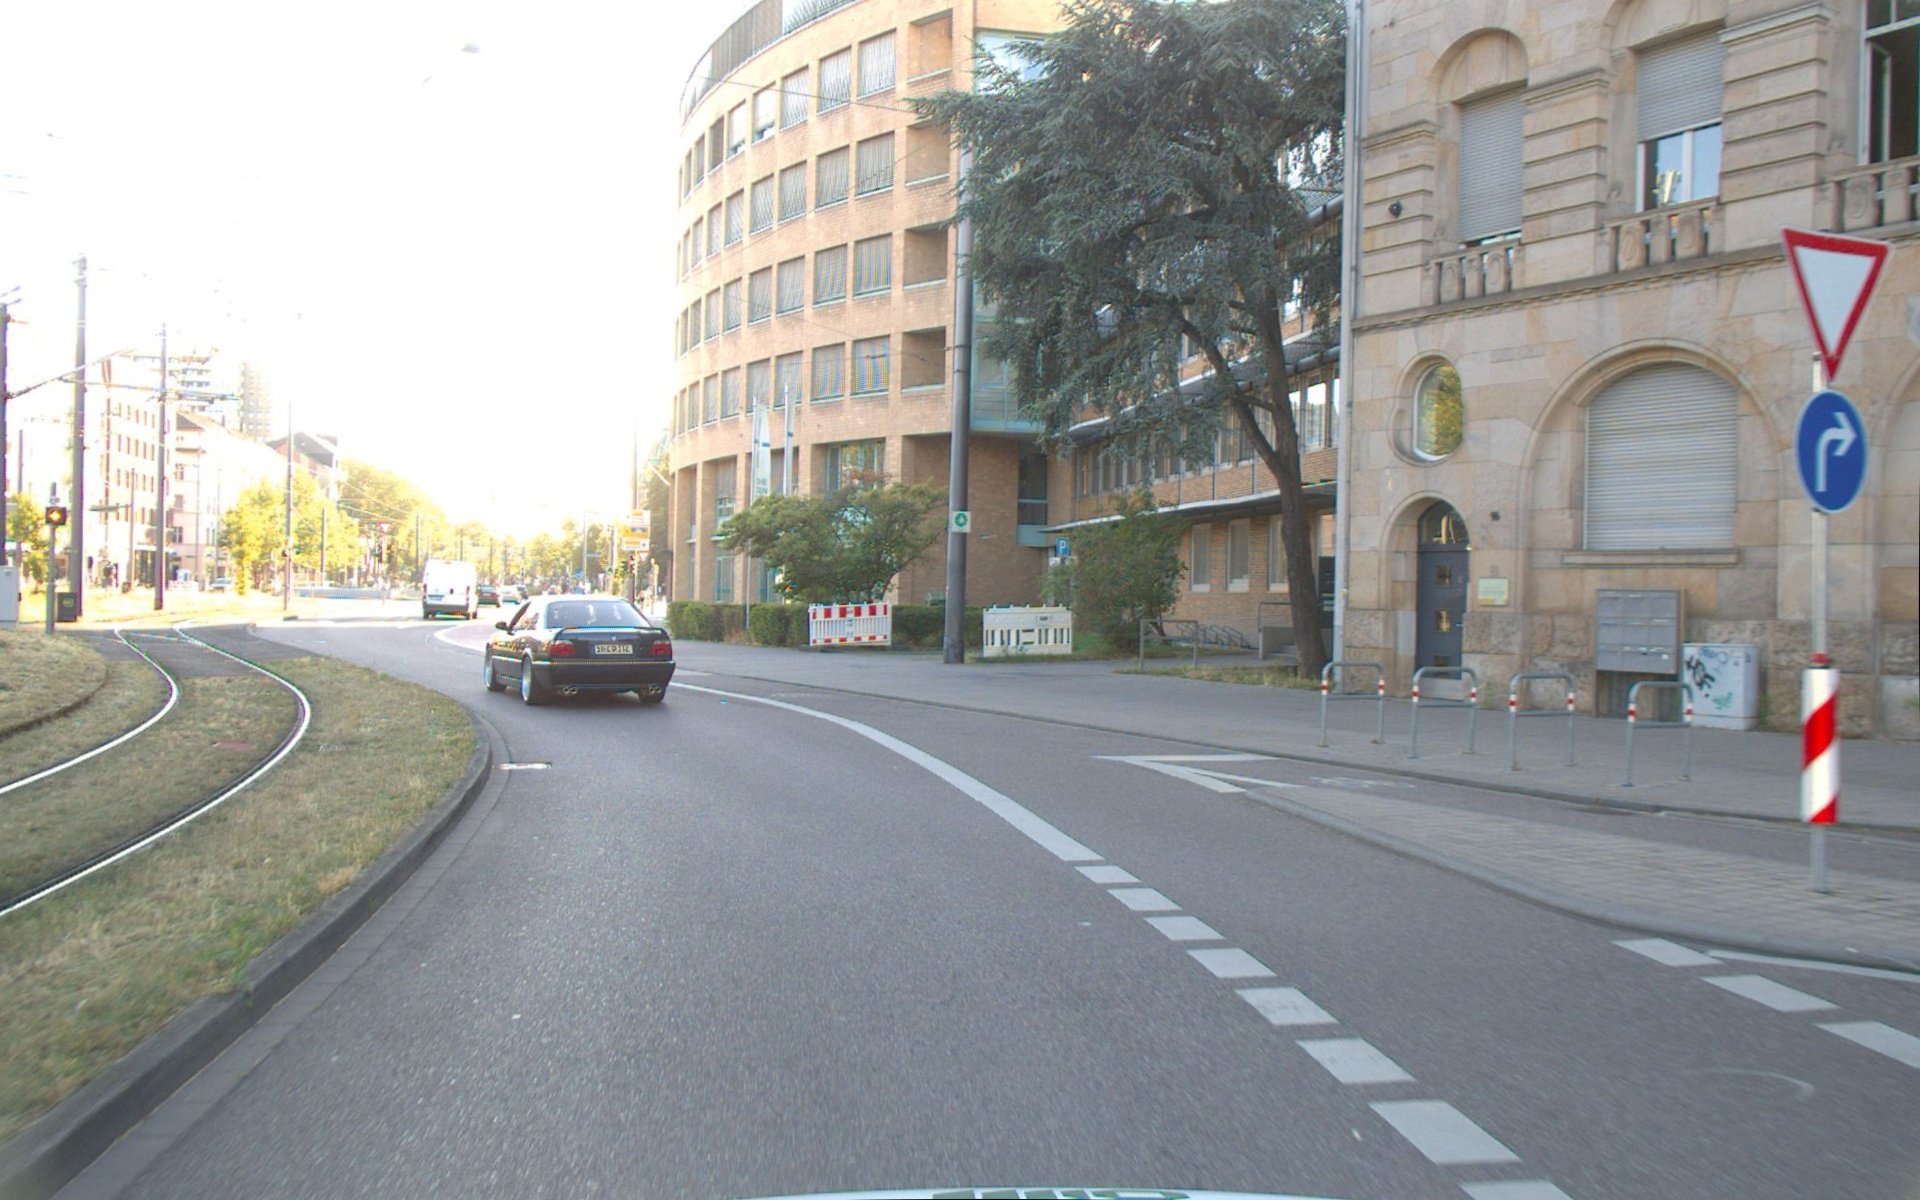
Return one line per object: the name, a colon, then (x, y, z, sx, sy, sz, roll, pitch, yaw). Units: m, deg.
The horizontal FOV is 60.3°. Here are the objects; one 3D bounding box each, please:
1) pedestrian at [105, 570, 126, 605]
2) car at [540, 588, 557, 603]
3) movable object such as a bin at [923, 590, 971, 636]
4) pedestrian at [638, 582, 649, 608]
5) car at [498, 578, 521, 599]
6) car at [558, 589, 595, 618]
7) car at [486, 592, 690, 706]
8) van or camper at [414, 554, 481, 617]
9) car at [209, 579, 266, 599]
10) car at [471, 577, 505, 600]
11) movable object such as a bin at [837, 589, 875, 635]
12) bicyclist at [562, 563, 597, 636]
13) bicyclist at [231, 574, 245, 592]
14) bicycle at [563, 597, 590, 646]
pedestrian: (-43.519, -0.657, 85.198, 0.704, 1.793, 0.651, 1, 1, 10)
car: (-46.584, -0.548, 187.340, 1.764, 1.593, 3.985, 1, 1, -15)
movable object such as a bin: (-0.429, 0.409, 53.872, 1.320, 1.449, 0.919, 1, 1, -19)
pedestrian: (-19.949, -0.318, 104.243, 0.665, 1.597, 0.797, 1, 1, -13)
car: (-36.533, -0.906, 134.174, 1.764, 1.593, 3.985, 1, 1, -15)
car: (-20.440, 0.179, 88.200, 1.752, 1.377, 4.255, 2, 1, -12)
car: (-5.255, 0.590, 22.910, 1.807, 1.378, 4.603, 0, 1, -25)
van or camper: (-22.464, -0.681, 72.701, 2.222, 2.670, 4.492, 1, 1, -10)
car: (-58.981, -0.915, 135.019, 3.958, 1.459, 1.696, 2, 1, -38)
car: (-30.611, -0.752, 107.388, 1.706, 1.410, 3.991, 1, 1, -10)
movable object such as a bin: (-3.386, 0.378, 53.932, 0.950, 1.462, 1.346, 1, 1, 8)
bicyclist: (-8.152, -0.012, 35.434, 0.644, 1.509, 1.034, 3, -1, -14)
bicyclist: (-58.151, -1.370, 133.244, 0.846, 1.467, 0.655, 3, 1, -35)
bicycle: (-8.218, 0.450, 35.408, 0.506, 0.971, 1.769, 3, 0, -13)
